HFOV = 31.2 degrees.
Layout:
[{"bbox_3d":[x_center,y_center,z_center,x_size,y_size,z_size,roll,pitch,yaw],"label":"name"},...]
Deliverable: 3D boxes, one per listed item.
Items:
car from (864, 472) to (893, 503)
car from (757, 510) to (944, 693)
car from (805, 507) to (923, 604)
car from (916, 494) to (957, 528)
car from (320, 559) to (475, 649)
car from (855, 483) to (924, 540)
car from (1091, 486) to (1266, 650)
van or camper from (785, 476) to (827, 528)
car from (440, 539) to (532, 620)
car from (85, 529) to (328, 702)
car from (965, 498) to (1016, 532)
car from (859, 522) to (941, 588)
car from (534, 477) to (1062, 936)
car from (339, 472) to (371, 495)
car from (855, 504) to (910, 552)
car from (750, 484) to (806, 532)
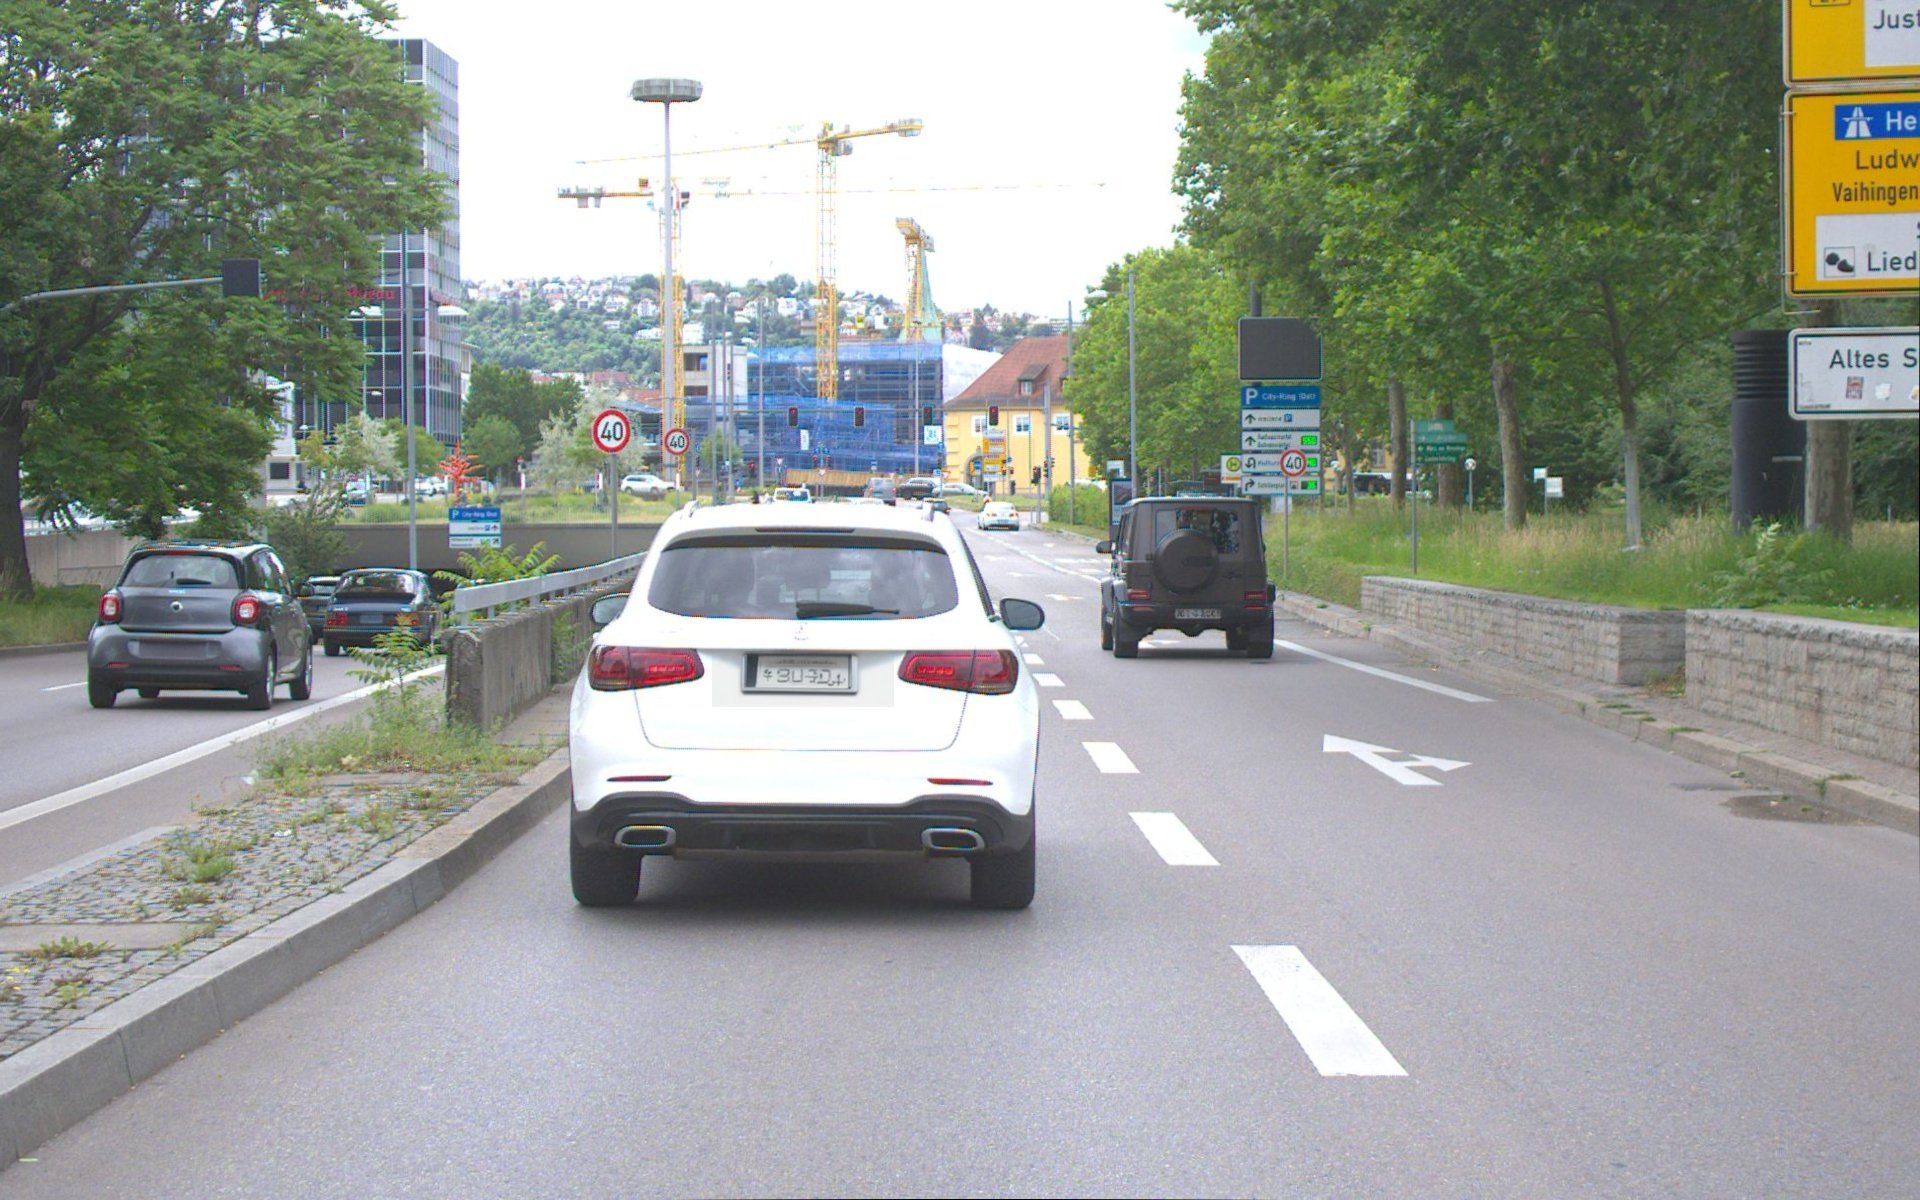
[{"bbox_3d":[-5.677,-7.781,238.402,1.800,2.007,4.000,2,0,-3],"label":"car"},{"bbox_3d":[-1.074,0.009,33.771,1.672,1.622,4.000,2,0,-2],"label":"car"},{"bbox_3d":[-1.701,-0.796,59.557,1.922,1.596,4.001,1,1,-3],"label":"car"},{"bbox_3d":[-1.195,-4.424,171.461,1.719,1.579,4.001,2,1,-4],"label":"car"},{"bbox_3d":[-8.912,0.038,54.736,1.719,1.288,4.000,2,1,1],"label":"car"},{"bbox_3d":[-2.232,-2.789,108.492,1.993,1.656,4.000,2,0,-3],"label":"car"},{"bbox_3d":[2.691,-0.397,43.354,1.978,1.887,4.707,2,0,2],"label":"car"},{"bbox_3d":[-7.421,-4.688,165.419,1.922,2.312,4.000,1,0,-3],"label":"van or camper"},{"bbox_3d":[-10.556,-0.489,76.739,1.719,1.673,4.001,2,1,-4],"label":"car"},{"bbox_3d":[-7.023,0.119,32.336,1.627,1.504,3.540,1,0,-3],"label":"car"},{"bbox_3d":[1.512,-4.285,173.317,1.993,1.612,4.001,2,0,-7],"label":"car"},{"bbox_3d":[-1.558,-1.176,88.166,1.922,1.596,4.001,1,1,-3],"label":"car"},{"bbox_3d":[-0.717,0.383,14.877,1.940,1.678,4.001,1,0,-3],"label":"car"},{"bbox_3d":[-39.597,-7.649,225.112,1.831,1.355,3.869,2,0,-8],"label":"car"},{"bbox_3d":[-3.079,-2.842,136.410,1.993,1.774,4.000,2,0,-3],"label":"car"},{"bbox_3d":[-7.137,-3.610,135.051,1.993,1.751,4.000,2,0,-1],"label":"car"}]
